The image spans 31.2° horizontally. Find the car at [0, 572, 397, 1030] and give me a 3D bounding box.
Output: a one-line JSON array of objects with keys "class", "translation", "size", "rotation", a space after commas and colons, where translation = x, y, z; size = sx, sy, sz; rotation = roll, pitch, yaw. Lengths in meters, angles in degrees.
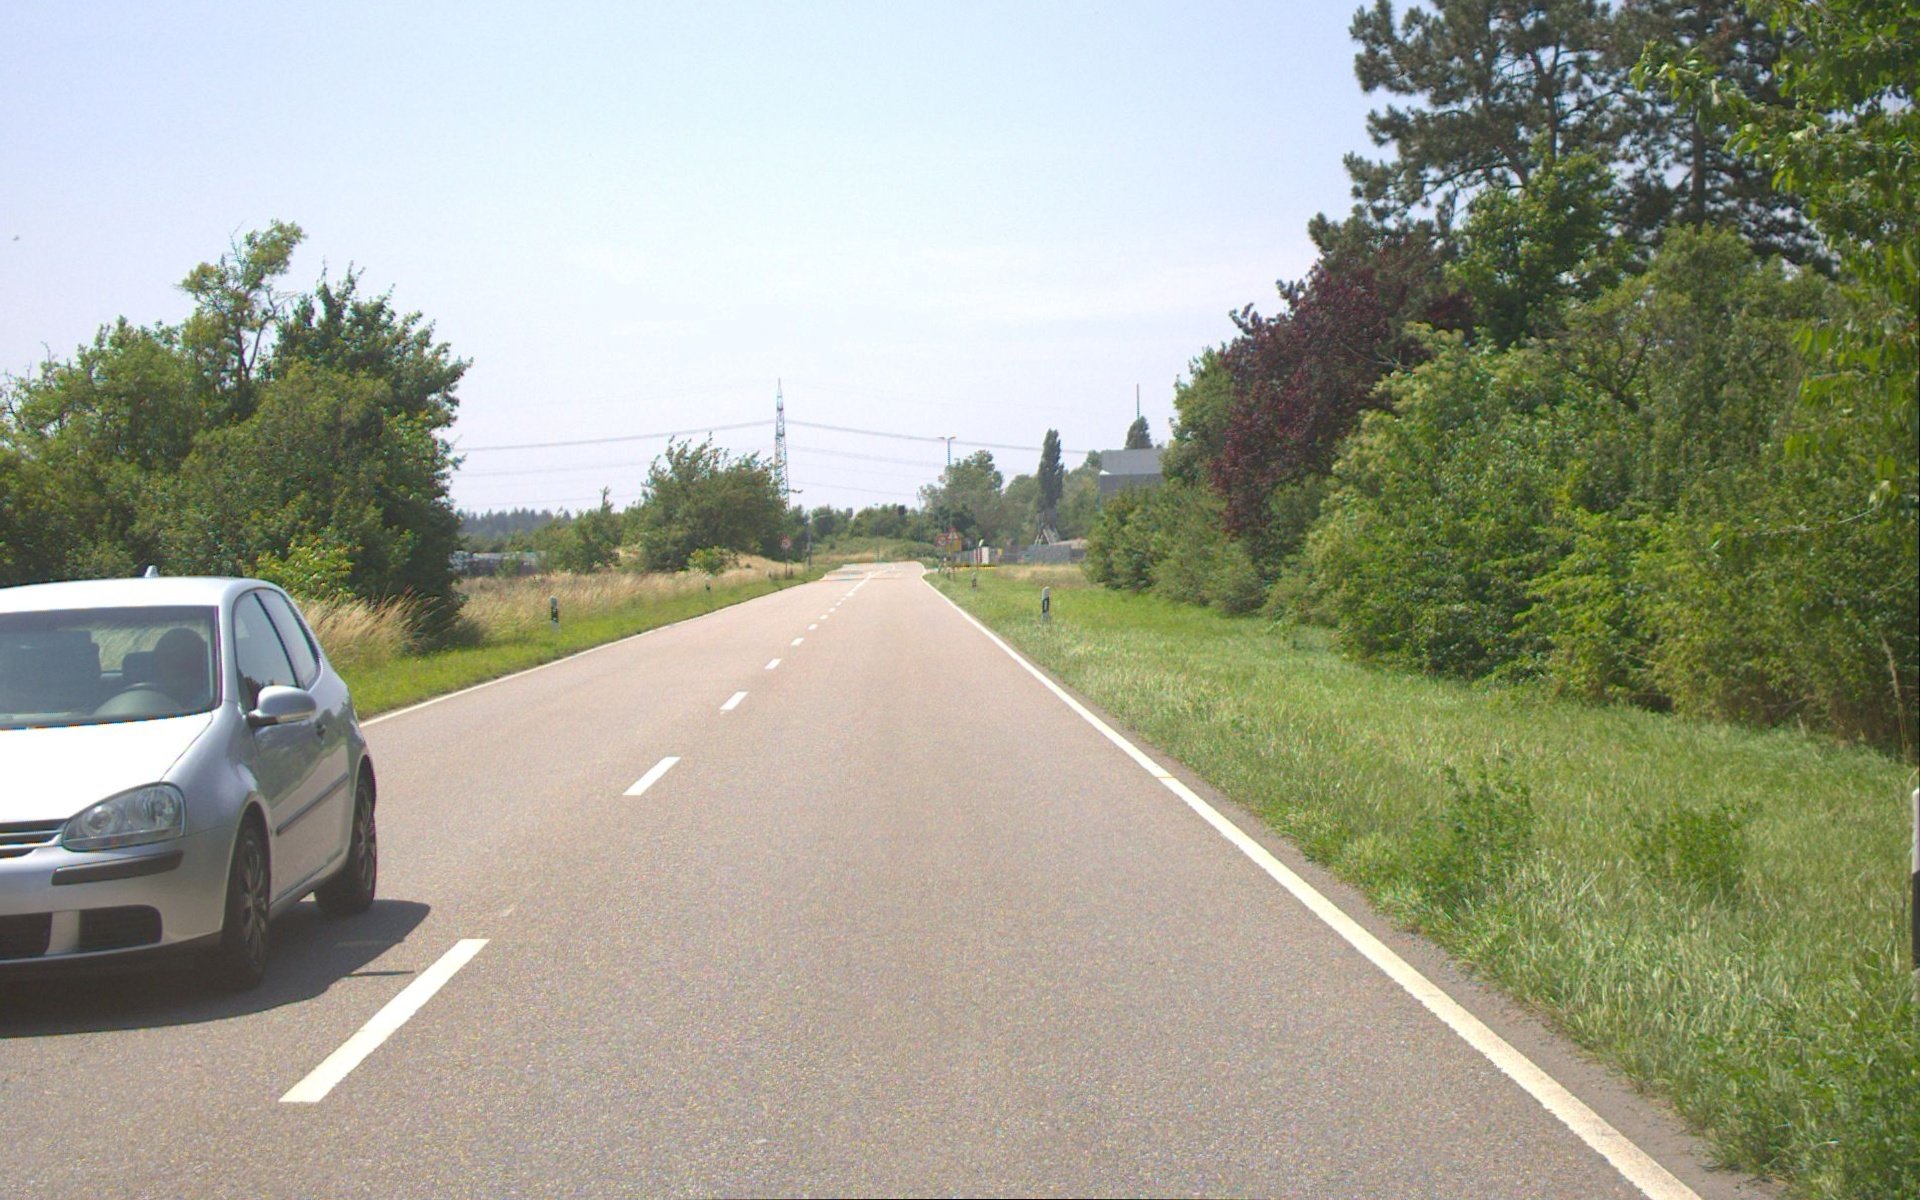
[{"class": "car", "translation": [-3.352, 0.658, 13.335], "size": [1.678, 1.416, 4.422], "rotation": [-3, 1, -2]}]
